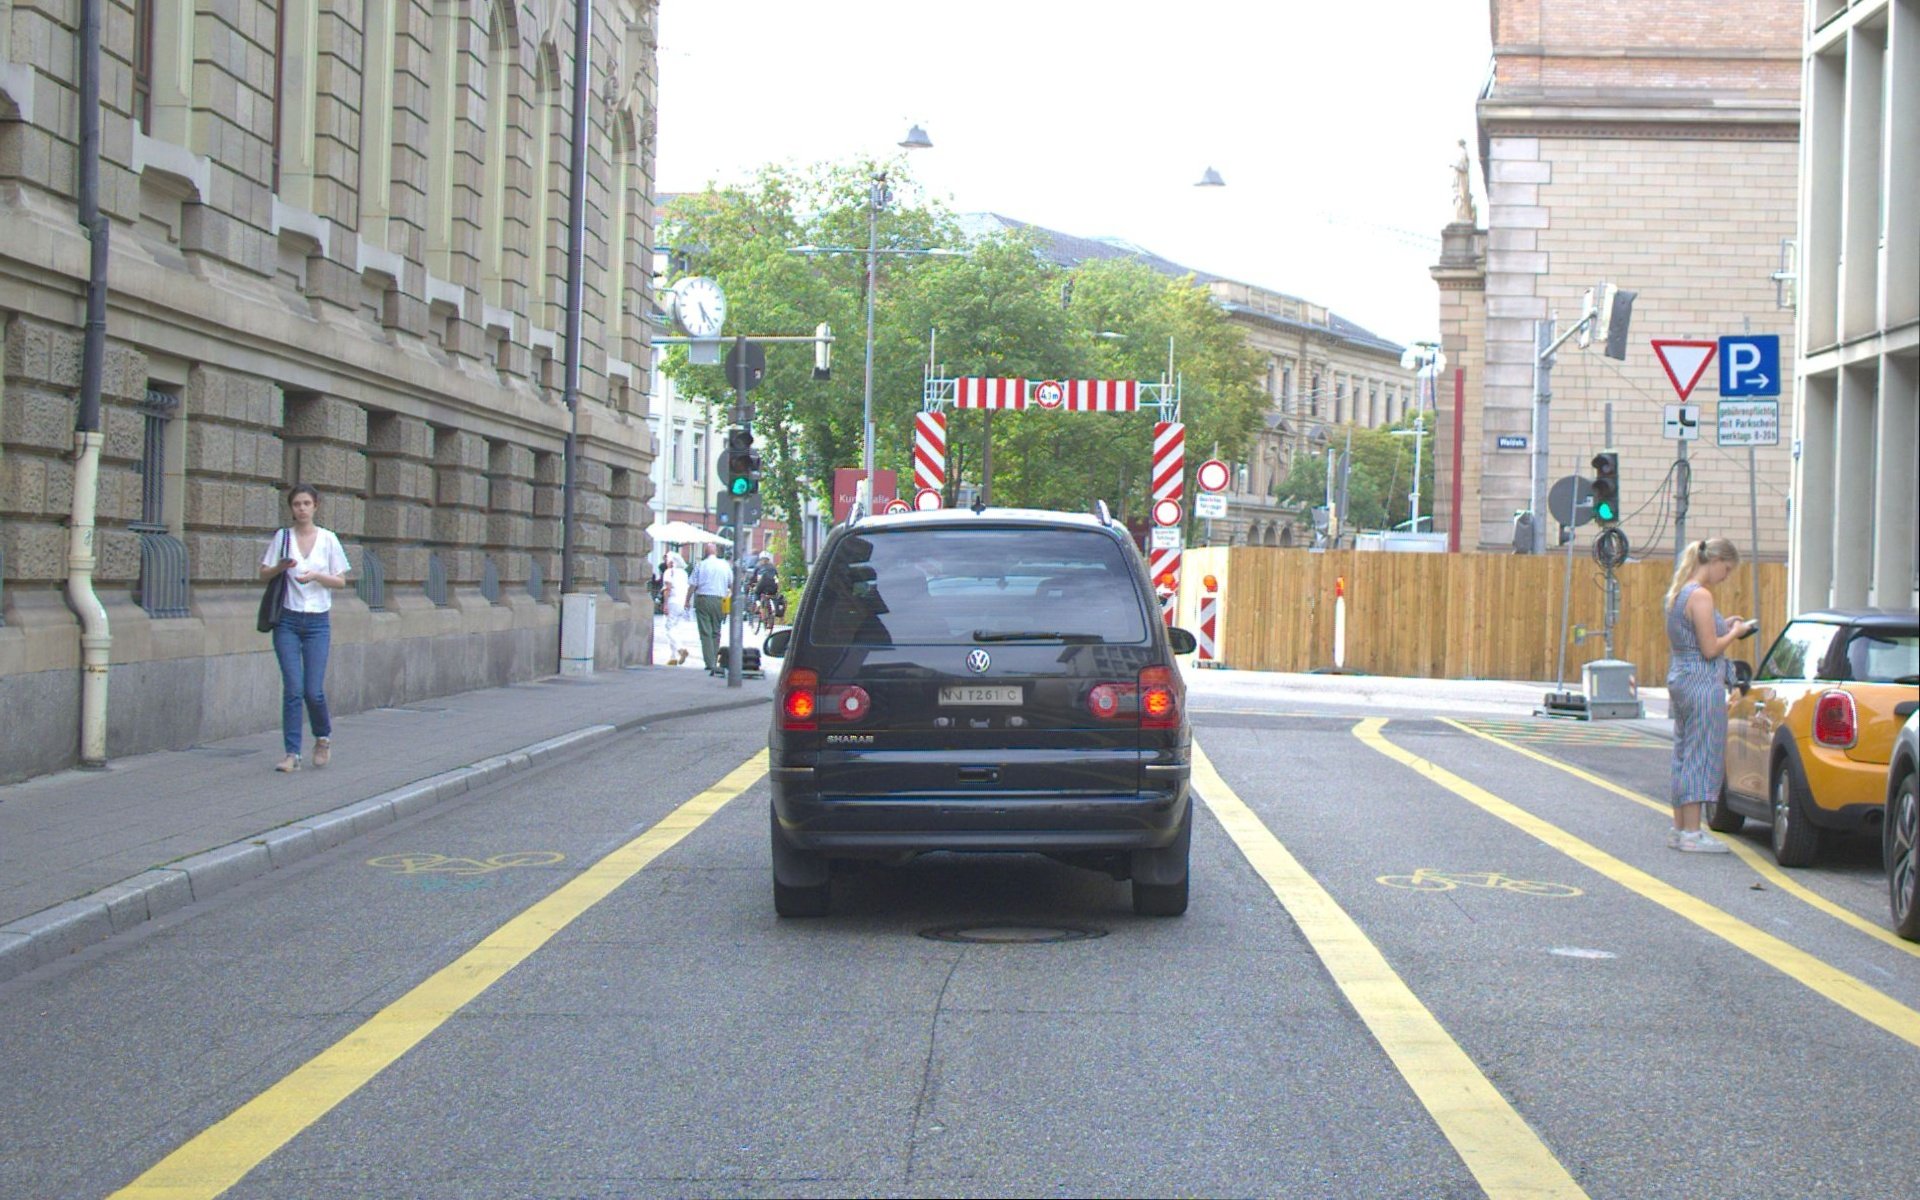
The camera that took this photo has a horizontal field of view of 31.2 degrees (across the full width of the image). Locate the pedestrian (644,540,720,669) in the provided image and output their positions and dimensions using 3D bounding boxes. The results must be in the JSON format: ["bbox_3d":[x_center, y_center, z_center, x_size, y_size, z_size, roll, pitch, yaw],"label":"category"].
[{"bbox_3d":[-4.067,0.057,50.210,0.792,1.813,1.048,3,0,-18],"label":"pedestrian"}]

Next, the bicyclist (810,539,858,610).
[{"bbox_3d":[-2.475,-0.496,67.328,0.735,1.371,0.832,1,0,-16],"label":"bicyclist"}]

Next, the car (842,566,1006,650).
[{"bbox_3d":[-0.640,0.119,57.497,1.649,1.317,3.676,1,0,-19],"label":"car"}]

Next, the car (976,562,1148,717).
[{"bbox_3d":[1.106,0.416,38.040,1.773,1.580,4.000,1,0,1],"label":"car"}]

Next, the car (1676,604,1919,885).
[{"bbox_3d":[5.318,0.790,19.973,1.680,1.430,3.886,3,0,4],"label":"car"}]

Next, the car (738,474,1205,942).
[{"bbox_3d":[0.184,0.422,15.607,1.790,1.784,4.102,2,0,4],"label":"car"}]

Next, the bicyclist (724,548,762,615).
[{"bbox_3d":[-4.782,-0.403,75.616,0.735,1.465,0.809,1,0,-9],"label":"bicyclist"}]

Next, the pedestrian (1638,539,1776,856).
[{"bbox_3d":[4.257,0.545,19.634,0.698,1.758,0.705,1,0,9],"label":"pedestrian"}]

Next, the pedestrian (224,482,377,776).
[{"bbox_3d":[-4.236,0.183,22.151,0.664,1.813,1.048,3,0,1],"label":"pedestrian"}]

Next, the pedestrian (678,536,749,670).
[{"bbox_3d":[-3.435,0.043,47.969,0.792,1.813,1.048,3,0,1],"label":"pedestrian"}]

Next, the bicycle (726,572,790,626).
[{"bbox_3d":[-3.927,-0.025,66.627,0.735,1.005,2.069,1,0,-17],"label":"bicycle"}]

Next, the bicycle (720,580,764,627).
[{"bbox_3d":[-4.799,0.074,75.626,0.735,1.005,2.069,1,0,-9],"label":"bicycle"}]

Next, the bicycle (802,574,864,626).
[{"bbox_3d":[-2.495,-0.006,67.372,0.735,1.005,2.069,1,0,-16],"label":"bicycle"}]

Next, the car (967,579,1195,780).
[{"bbox_3d":[1.000,0.598,28.039,1.678,1.464,4.103,2,0,2],"label":"car"}]

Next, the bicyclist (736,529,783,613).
[{"bbox_3d":[-3.889,-0.554,66.557,0.735,1.606,0.695,1,0,-17],"label":"bicyclist"}]

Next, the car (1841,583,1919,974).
[{"bbox_3d":[4.858,0.799,13.404,1.860,1.599,4.511,4,0,4],"label":"car"}]
